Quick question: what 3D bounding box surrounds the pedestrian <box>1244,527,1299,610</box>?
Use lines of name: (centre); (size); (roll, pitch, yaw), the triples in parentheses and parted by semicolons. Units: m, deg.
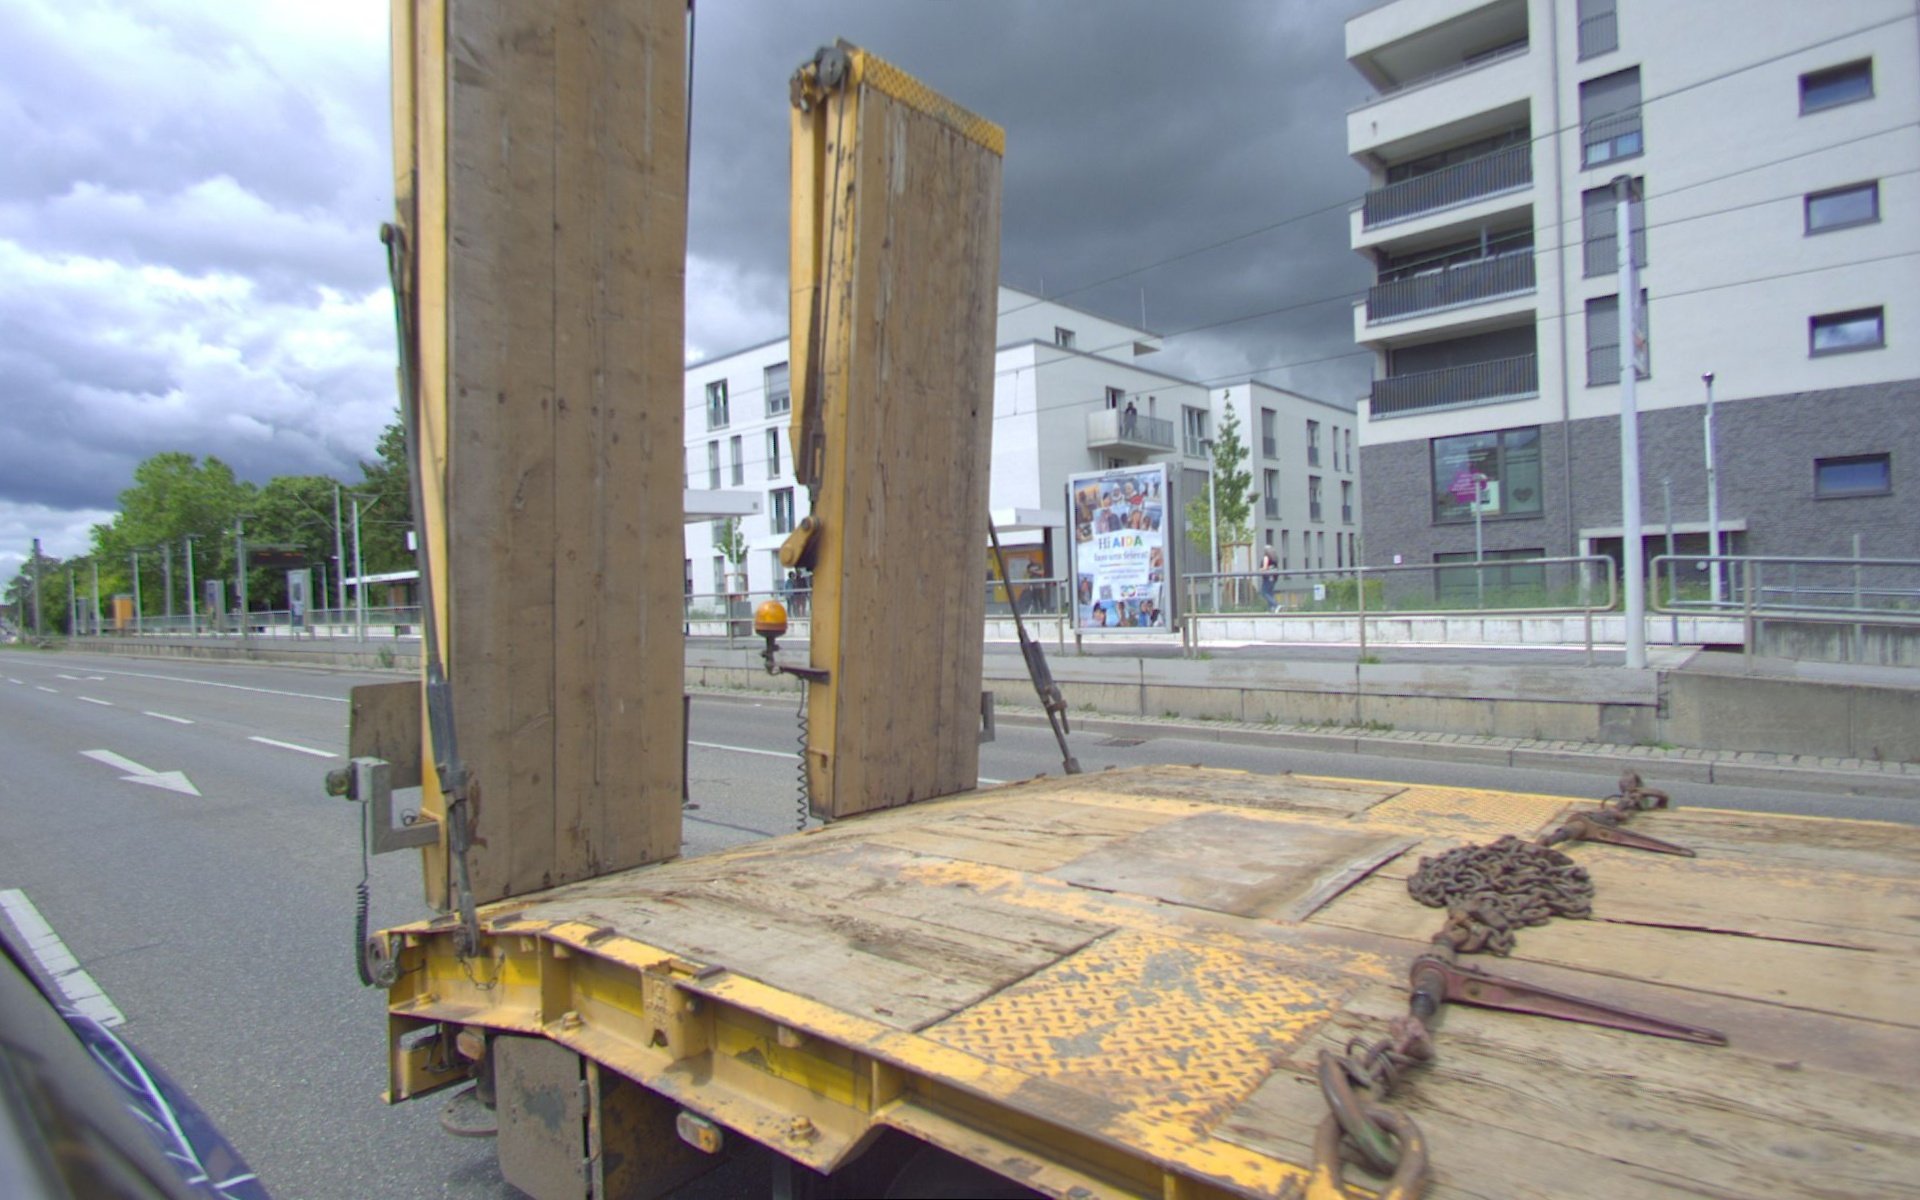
pedestrian: (6.942, -0.699, 22.542); (0.933, 1.779, 0.669); (-2, 0, 39)

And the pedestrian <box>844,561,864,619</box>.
pedestrian: (-3.319, -0.302, 31.669); (0.481, 1.779, 0.679); (-2, 0, -15)

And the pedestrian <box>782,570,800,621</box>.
pedestrian: (-5.471, -0.150, 32.705); (0.481, 1.608, 0.679); (-2, 0, -6)

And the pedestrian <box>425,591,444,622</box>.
pedestrian: (-26.736, 0.330, 51.503); (0.731, 1.542, 0.548); (-2, 0, -35)

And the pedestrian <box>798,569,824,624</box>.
pedestrian: (-4.821, -0.115, 32.776); (0.669, 1.738, 0.488); (-2, 0, 7)

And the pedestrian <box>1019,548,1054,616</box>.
pedestrian: (2.035, -0.479, 26.872); (0.677, 1.779, 0.555); (-2, 0, 43)

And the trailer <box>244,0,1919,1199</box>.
trailer: (3.164, -0.573, 0.157); (11.247, 3.585, 2.701); (-2, 0, 41)

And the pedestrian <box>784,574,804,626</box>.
pedestrian: (-5.209, -0.004, 31.761); (0.481, 1.608, 0.679); (-2, 0, -15)
